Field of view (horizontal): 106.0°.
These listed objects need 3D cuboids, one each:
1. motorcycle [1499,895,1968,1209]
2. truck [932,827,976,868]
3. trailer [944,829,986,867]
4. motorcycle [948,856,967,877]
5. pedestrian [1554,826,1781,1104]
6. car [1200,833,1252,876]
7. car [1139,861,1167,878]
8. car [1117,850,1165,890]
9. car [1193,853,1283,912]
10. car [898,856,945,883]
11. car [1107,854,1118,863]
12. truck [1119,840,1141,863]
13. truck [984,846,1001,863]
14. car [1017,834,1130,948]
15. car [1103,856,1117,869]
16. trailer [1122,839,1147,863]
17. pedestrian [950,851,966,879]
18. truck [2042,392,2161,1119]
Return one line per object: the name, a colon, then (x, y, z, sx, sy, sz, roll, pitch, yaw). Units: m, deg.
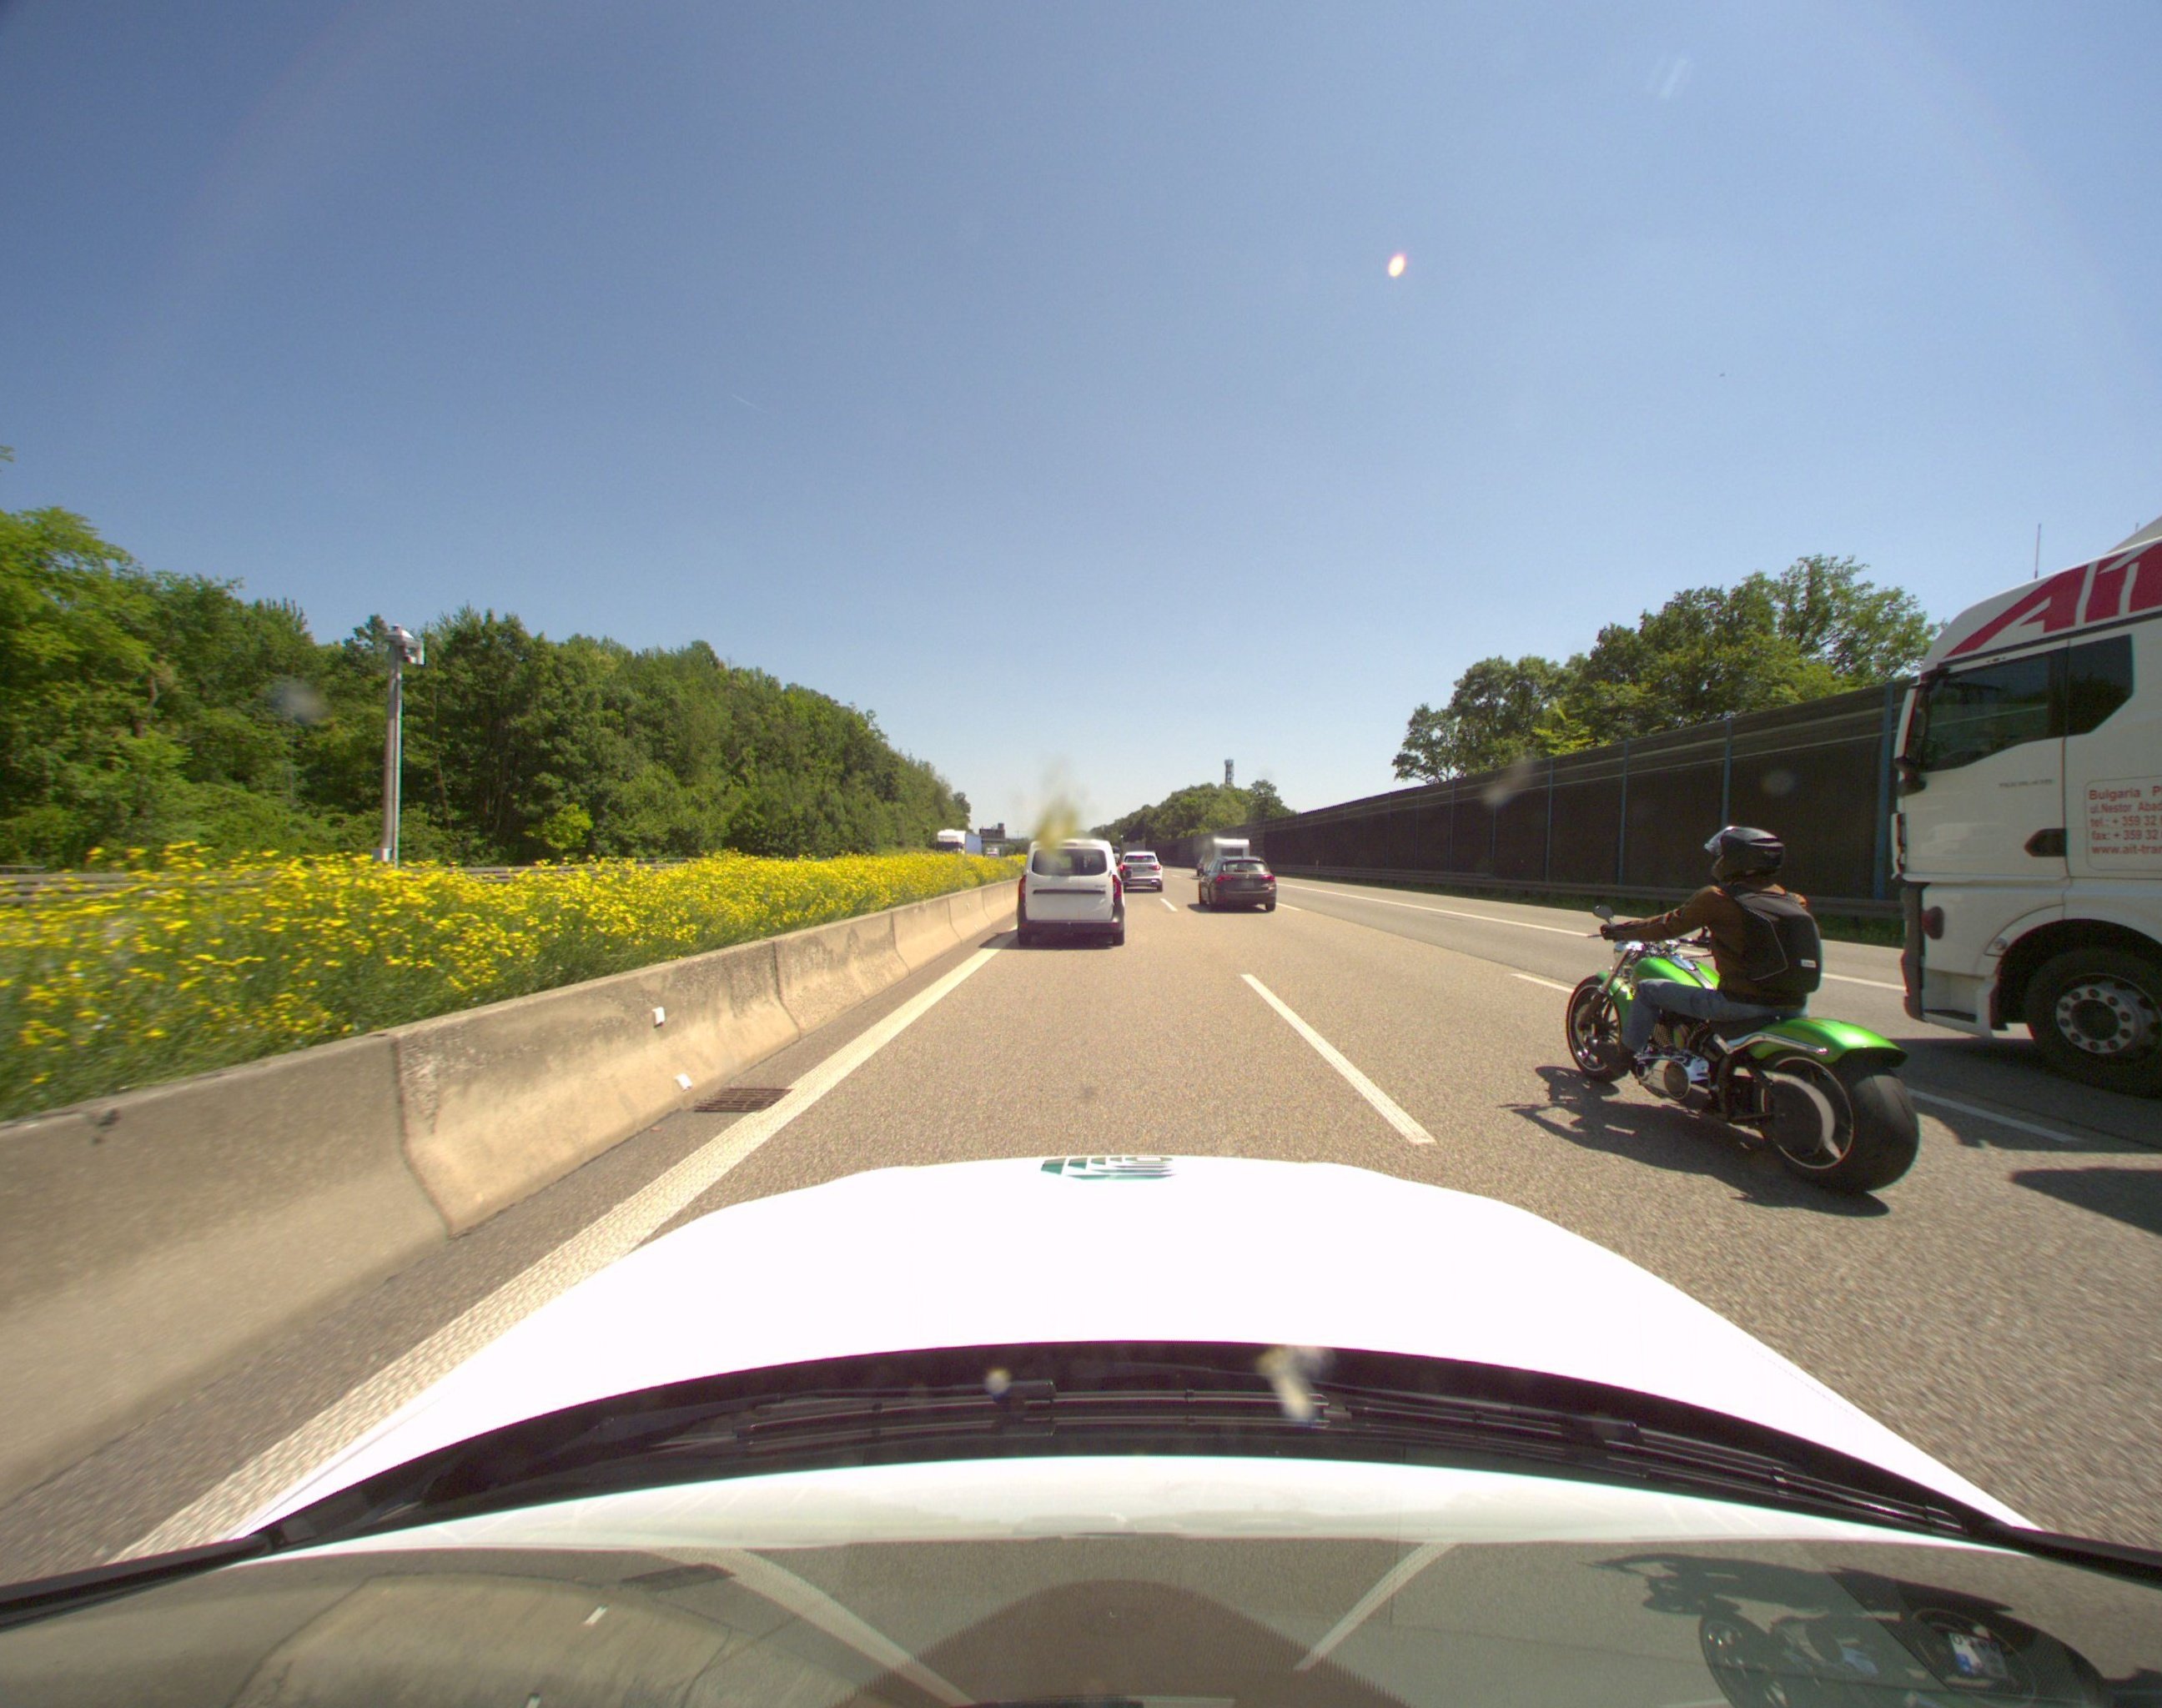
motorcycle: (3.315, 0.884, 4.545, 0.856, 1.182, 2.277, 0, 0, 2)
truck: (-12.378, -0.606, 80.168, 2.738, 3.857, 8.415, 0, 0, 1)
trailer: (-12.208, -0.601, 86.677, 2.771, 3.857, 10.173, 0, 0, 1)
motorcycle: (-6.044, 0.609, 39.987, 0.664, 1.041, 1.476, 0, 0, 2)
pedestrian: (3.316, 0.593, 4.668, 0.848, 1.479, 0.638, 0, 0, 1)
car: (9.671, 0.074, 54.916, 2.470, 2.766, 6.220, 0, -1, 1)
car: (6.010, 1.267, 67.967, 1.820, 1.424, 3.996, 0, -1, -3)
car: (2.484, 0.651, 34.699, 1.864, 1.608, 3.880, 0, 0, 2)
car: (4.327, 0.726, 23.112, 1.831, 1.513, 4.403, 0, 0, 2)
car: (-9.238, 0.844, 47.422, 1.798, 1.489, 4.001, 0, 0, 1)
car: (7.064, 1.037, 182.577, 1.989, 2.014, 3.996, 0, 0, -2)
truck: (8.767, -0.378, 146.926, 3.074, 3.986, 9.636, 0, -1, -3)
truck: (-18.667, 0.180, 171.996, 2.726, 3.475, 7.314, 0, 0, 0)
car: (-0.064, 0.603, 15.040, 1.795, 1.808, 4.001, 0, 0, 2)
car: (4.733, 1.458, 133.536, 1.820, 1.989, 3.997, 1, 1, -3)
trailer: (9.105, -0.415, 139.214, 3.074, 3.986, 10.312, 0, -1, -3)
pedestrian: (-6.043, 0.546, 39.973, 0.659, 1.365, 0.532, 0, 0, 1)
truck: (7.304, -0.576, 2.344, 2.588, 4.090, 5.555, 0, -1, 2)
